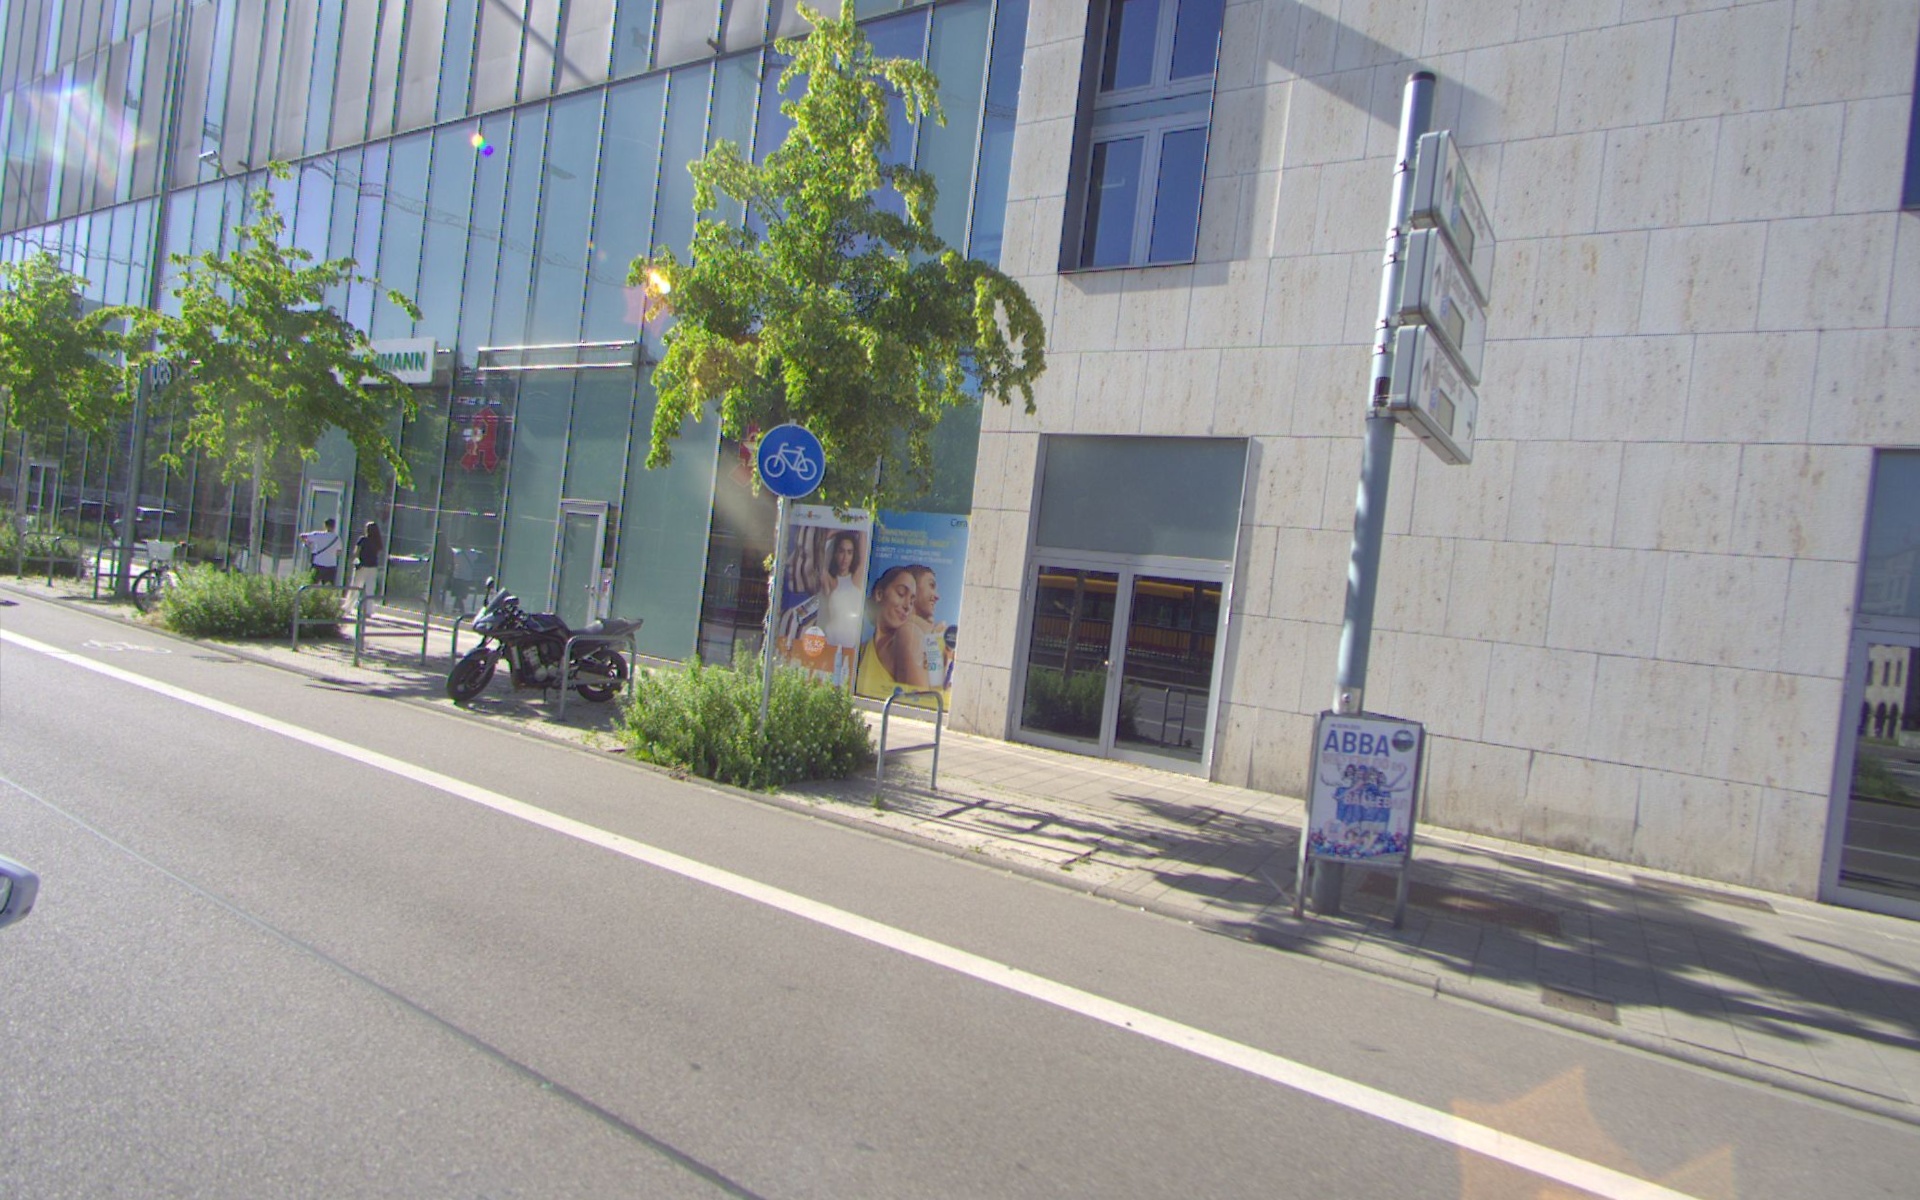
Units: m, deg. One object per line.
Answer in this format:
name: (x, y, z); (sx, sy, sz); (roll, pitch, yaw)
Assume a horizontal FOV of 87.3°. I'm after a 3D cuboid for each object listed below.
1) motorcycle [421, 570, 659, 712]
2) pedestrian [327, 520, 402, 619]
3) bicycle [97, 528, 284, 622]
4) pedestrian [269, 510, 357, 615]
motorcycle: (-4.543, 0.472, 11.054); (0.889, 1.341, 2.189); (7, 0, 35)
pedestrian: (-10.831, -0.546, 18.311); (0.884, 1.680, 0.707); (7, 2, 27)
bicycle: (-11.913, -0.366, 15.634); (0.936, 1.221, 2.084); (7, 1, 38)
pedestrian: (-11.338, -0.652, 17.646); (0.884, 1.678, 0.822); (7, 0, 27)
